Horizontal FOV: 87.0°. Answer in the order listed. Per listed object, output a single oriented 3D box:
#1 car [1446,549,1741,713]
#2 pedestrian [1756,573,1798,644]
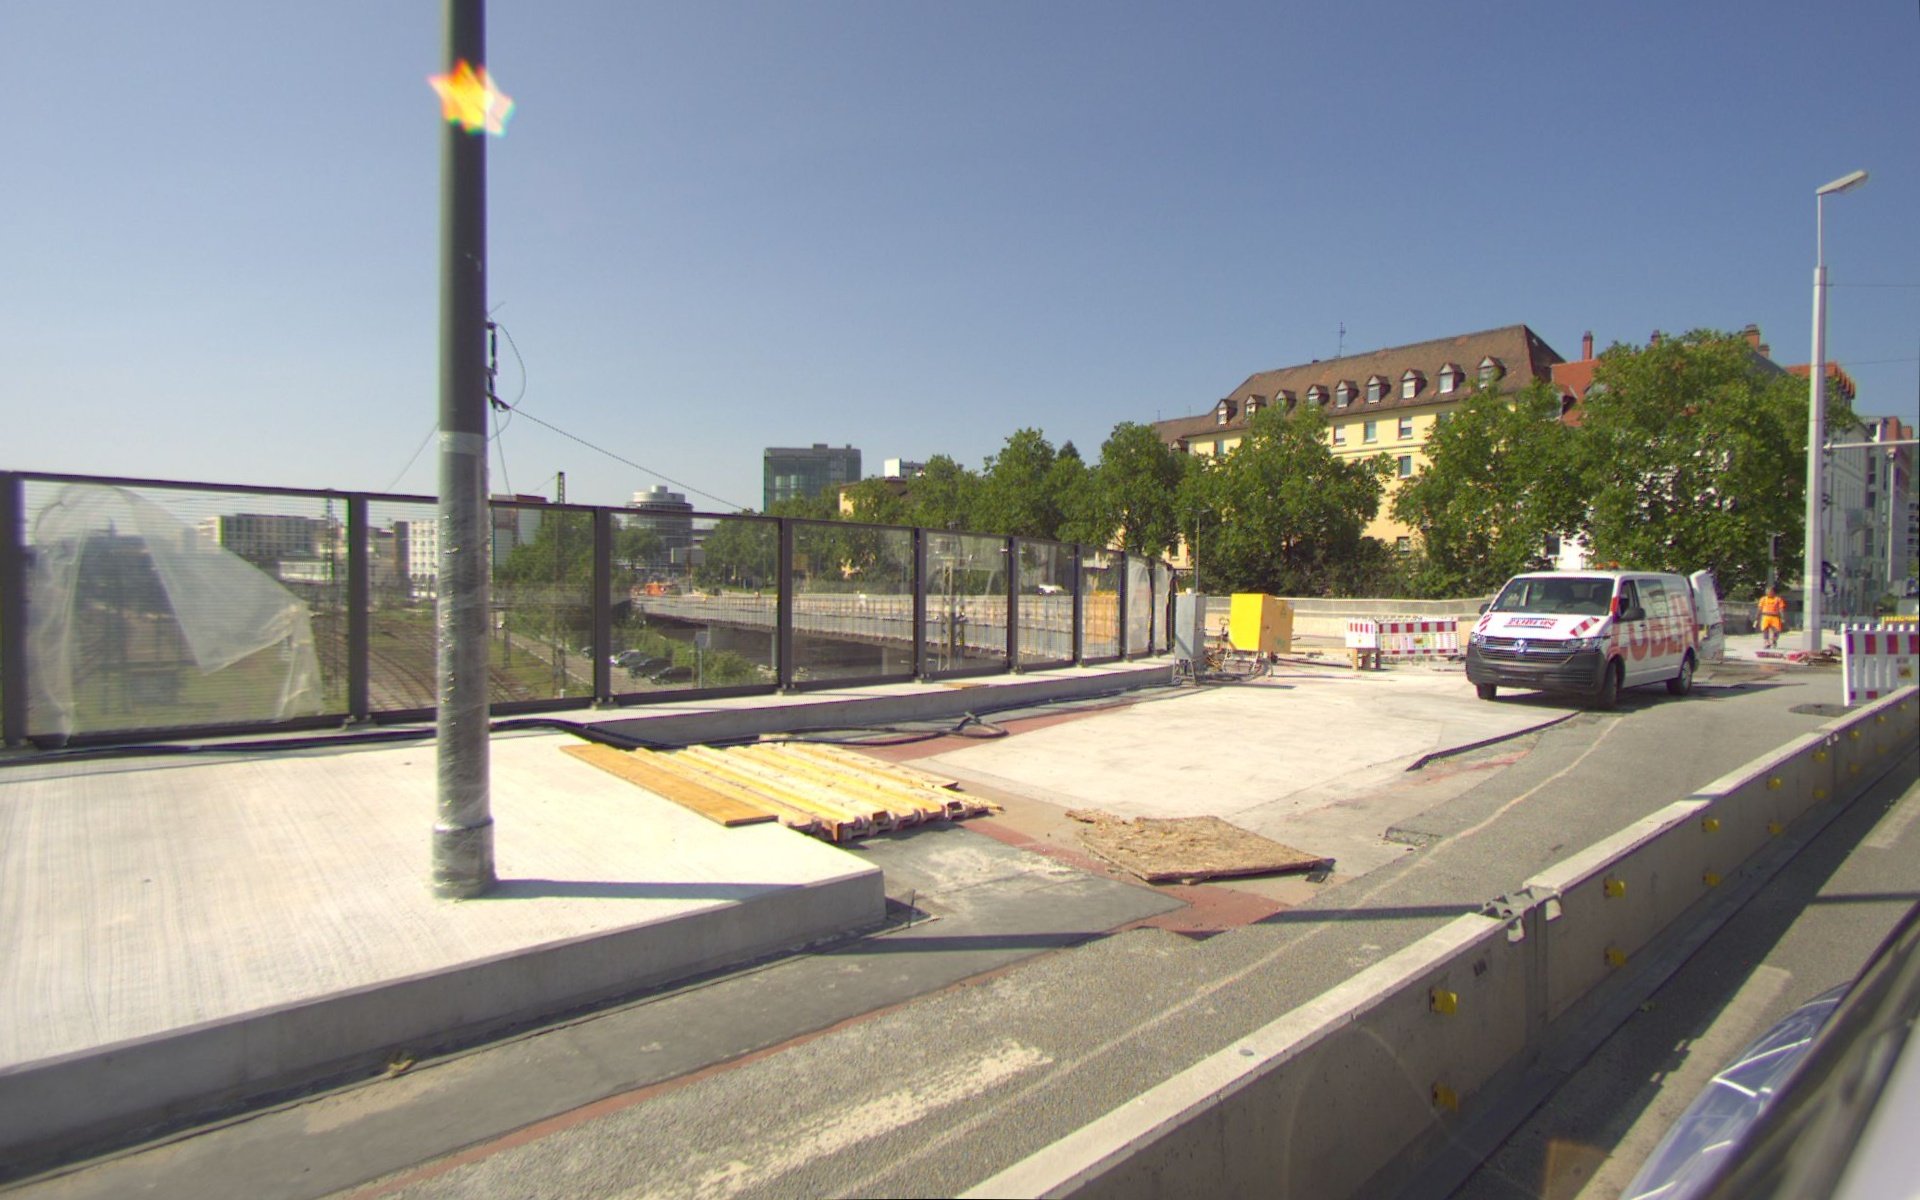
[{"bbox_3d":[10.090,0.313,15.839,6.354,2.116,1.938,-2,2,-39],"label":"car"},{"bbox_3d":[24.008,0.228,29.734,0.828,2.009,0.761,-1,3,-41],"label":"pedestrian"}]
